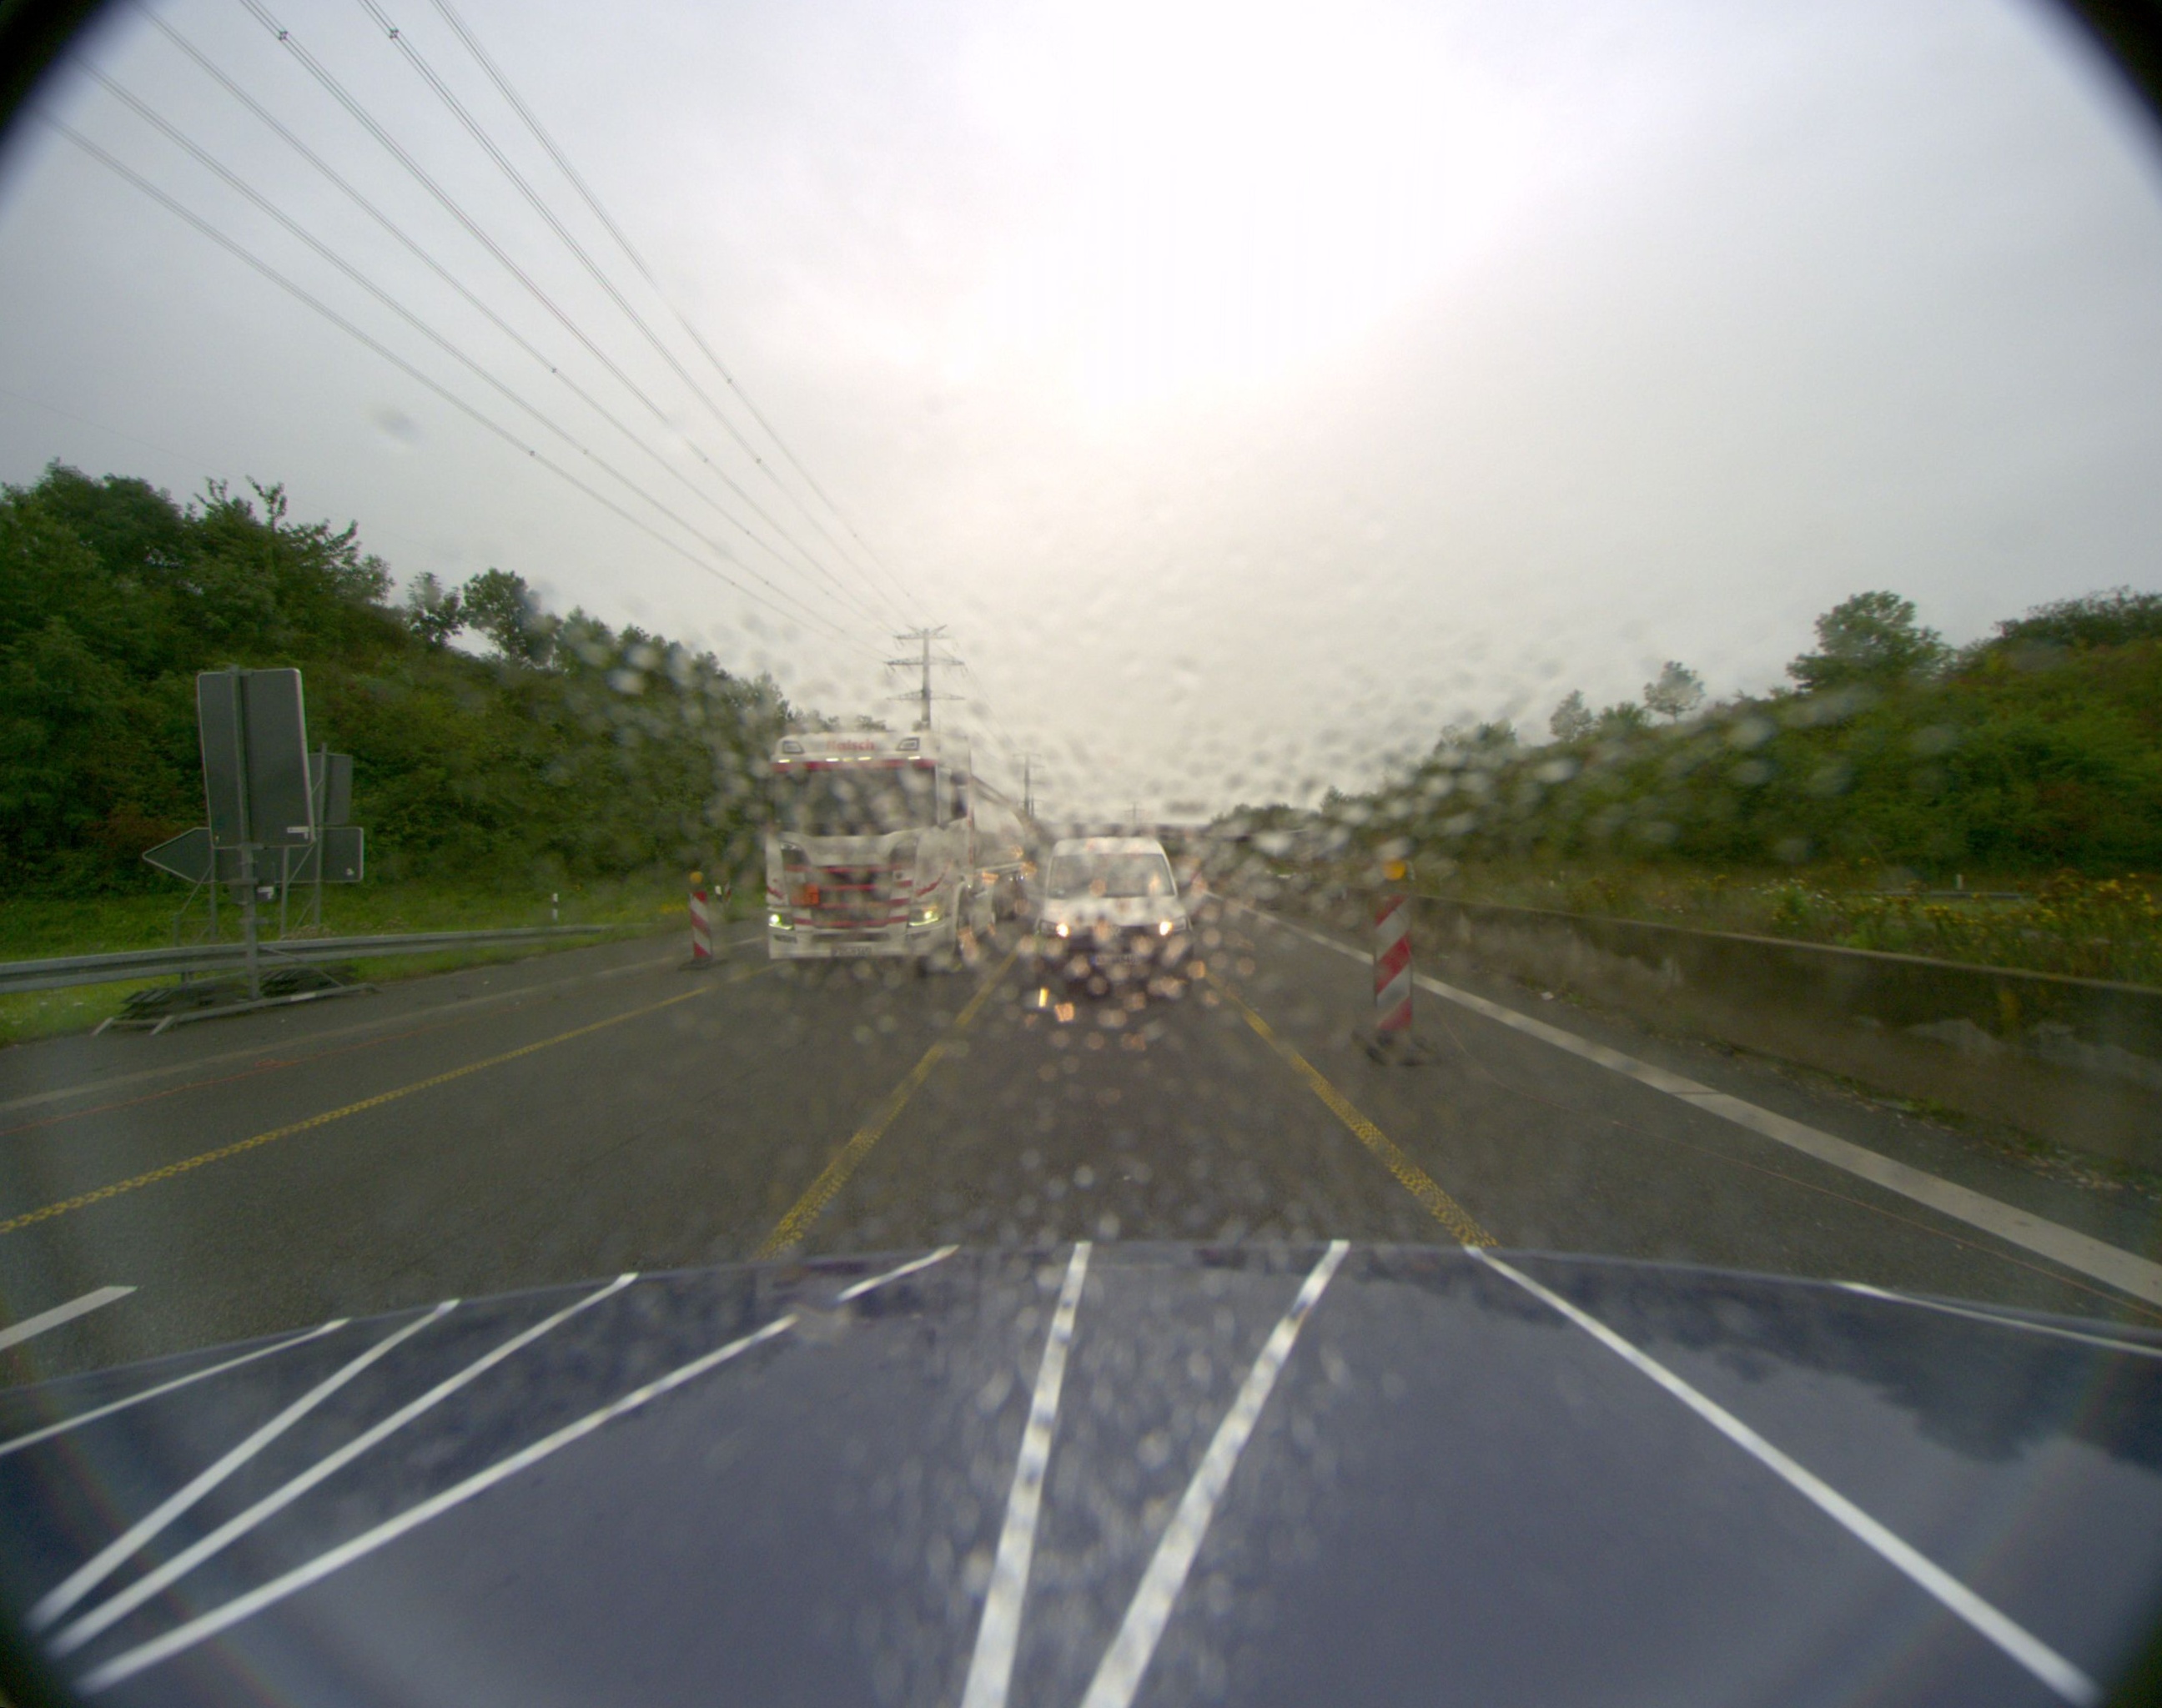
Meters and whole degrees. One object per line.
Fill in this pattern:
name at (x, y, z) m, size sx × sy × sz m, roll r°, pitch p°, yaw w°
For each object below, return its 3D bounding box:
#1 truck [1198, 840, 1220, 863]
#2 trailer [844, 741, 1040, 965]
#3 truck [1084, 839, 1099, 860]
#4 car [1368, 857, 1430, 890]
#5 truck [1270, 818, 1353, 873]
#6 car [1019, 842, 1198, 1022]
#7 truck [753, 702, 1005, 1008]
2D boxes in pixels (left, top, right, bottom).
truck at (25.161, -0.526, 149.752) m, size 2.682 × 4.220 × 12.518 m, roll -2°, pitch 1°, yaw 3°
trailer at (-2.746, -0.070, 18.728) m, size 2.644 × 3.871 × 10.542 m, roll -2°, pitch 1°, yaw 1°
truck at (2.104, -0.902, 152.343) m, size 2.553 × 3.924 × 4.001 m, roll -2°, pitch 1°, yaw 5°
car at (15.263, 0.885, 36.682) m, size 1.682 × 1.518 × 3.753 m, roll 0°, pitch 0°, yaw 4°
truck at (21.294, -0.849, 71.729) m, size 3.414 × 4.498 × 17.288 m, roll -1°, pitch 1°, yaw 3°
car at (0.298, 0.802, 10.105) m, size 1.770 × 1.774 × 4.647 m, roll -2°, pitch 0°, yaw 0°
truck at (-2.817, 0.000, 11.855) m, size 2.651 × 3.868 × 4.029 m, roll -2°, pitch 1°, yaw 0°
